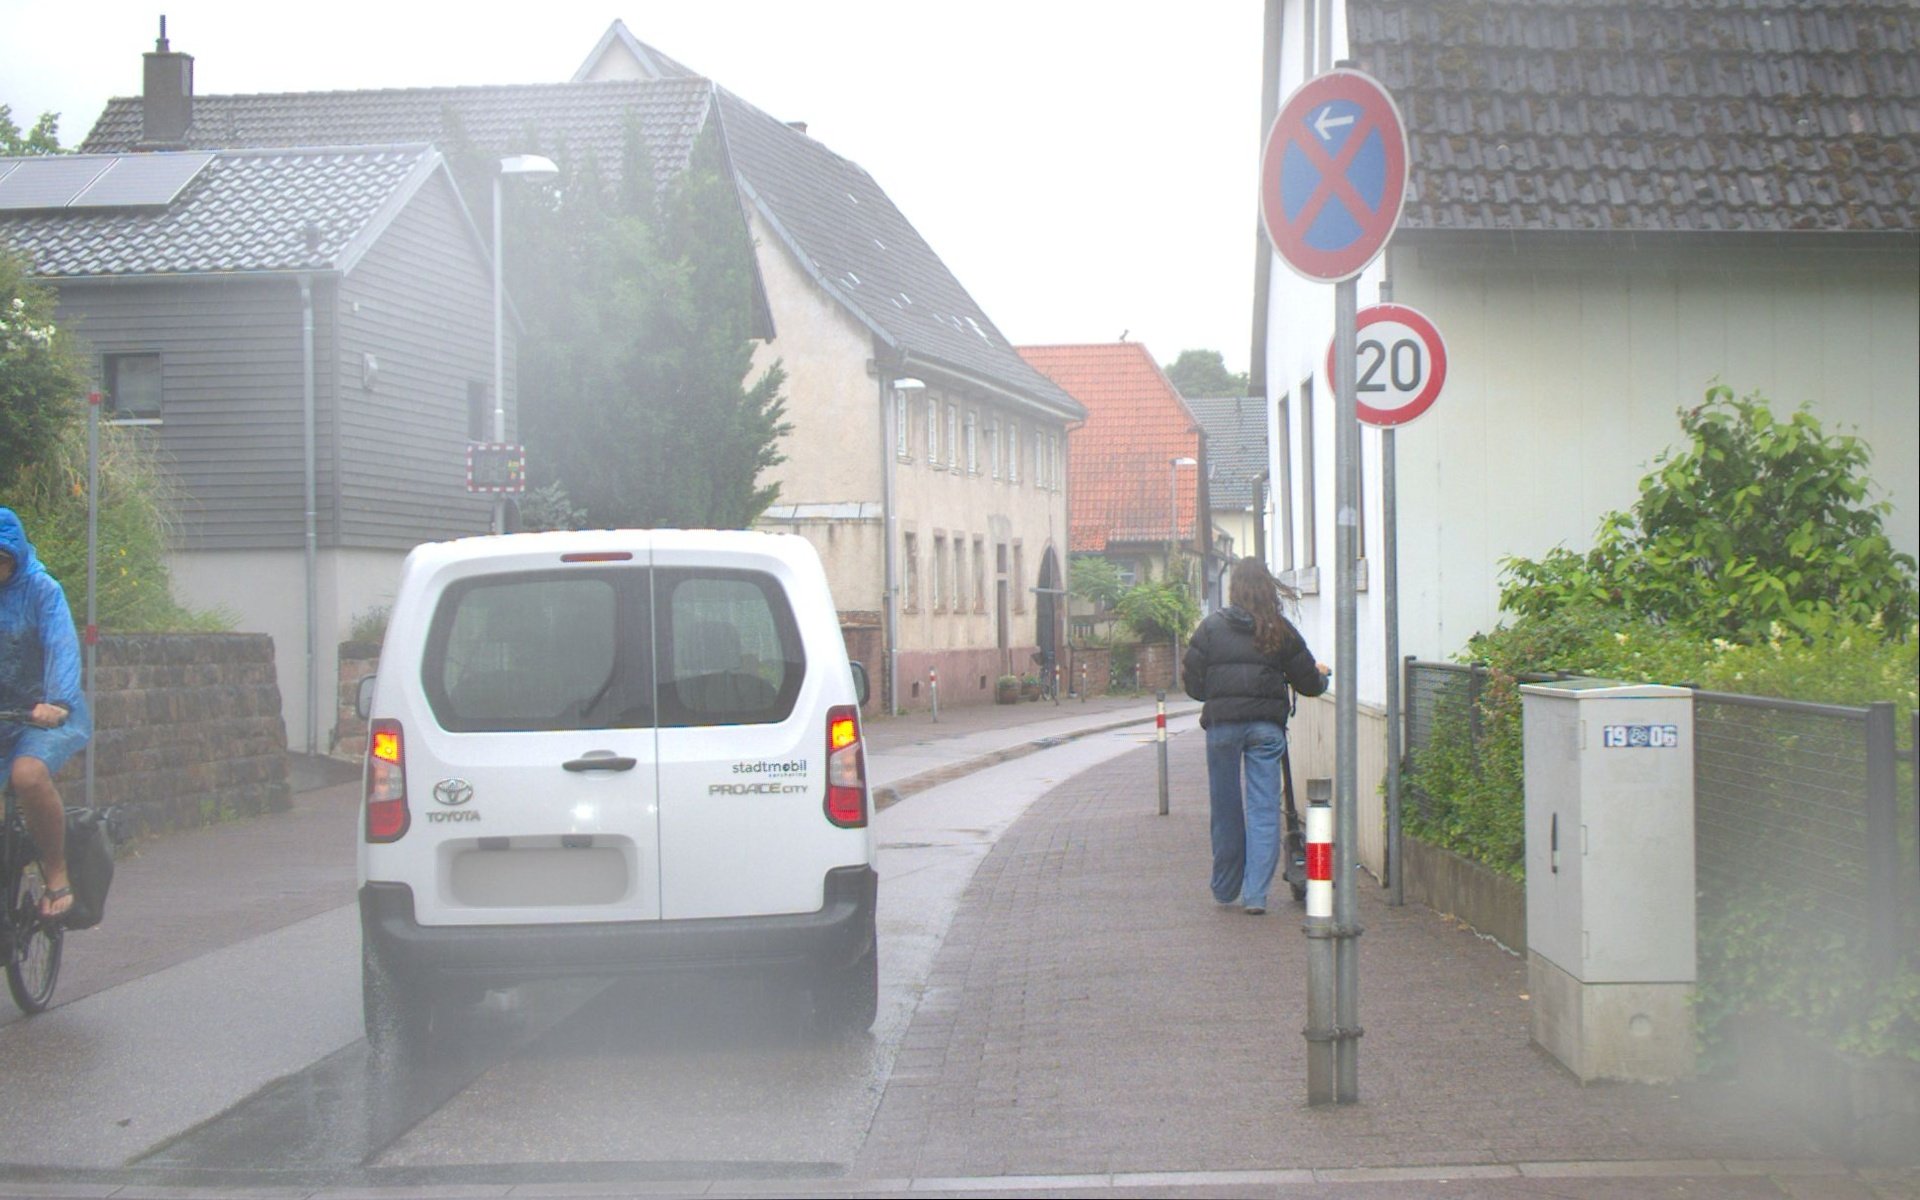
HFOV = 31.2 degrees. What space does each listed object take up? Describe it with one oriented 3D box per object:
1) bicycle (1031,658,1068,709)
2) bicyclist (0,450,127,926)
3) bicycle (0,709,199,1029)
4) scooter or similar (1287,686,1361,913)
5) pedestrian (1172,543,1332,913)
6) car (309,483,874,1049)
[{"bbox_3d":[2.094,1.951,80.257,0.483,1.176,1.834,0,-1,13],"label":"bicycle"},{"bbox_3d":[-3.537,0.320,12.708,0.687,1.707,0.703,1,-2,2],"label":"bicyclist"},{"bbox_3d":[-3.476,0.943,12.758,0.681,1.047,2.339,1,-1,2],"label":"bicycle"},{"bbox_3d":[1.744,0.941,16.531,0.245,1.024,1.100,1,0,2],"label":"scooter or similar"},{"bbox_3d":[1.403,0.602,16.621,0.694,1.726,0.821,1,0,2],"label":"pedestrian"},{"bbox_3d":[-1.435,0.603,13.297,1.794,1.813,4.102,2,-2,-7],"label":"car"}]
